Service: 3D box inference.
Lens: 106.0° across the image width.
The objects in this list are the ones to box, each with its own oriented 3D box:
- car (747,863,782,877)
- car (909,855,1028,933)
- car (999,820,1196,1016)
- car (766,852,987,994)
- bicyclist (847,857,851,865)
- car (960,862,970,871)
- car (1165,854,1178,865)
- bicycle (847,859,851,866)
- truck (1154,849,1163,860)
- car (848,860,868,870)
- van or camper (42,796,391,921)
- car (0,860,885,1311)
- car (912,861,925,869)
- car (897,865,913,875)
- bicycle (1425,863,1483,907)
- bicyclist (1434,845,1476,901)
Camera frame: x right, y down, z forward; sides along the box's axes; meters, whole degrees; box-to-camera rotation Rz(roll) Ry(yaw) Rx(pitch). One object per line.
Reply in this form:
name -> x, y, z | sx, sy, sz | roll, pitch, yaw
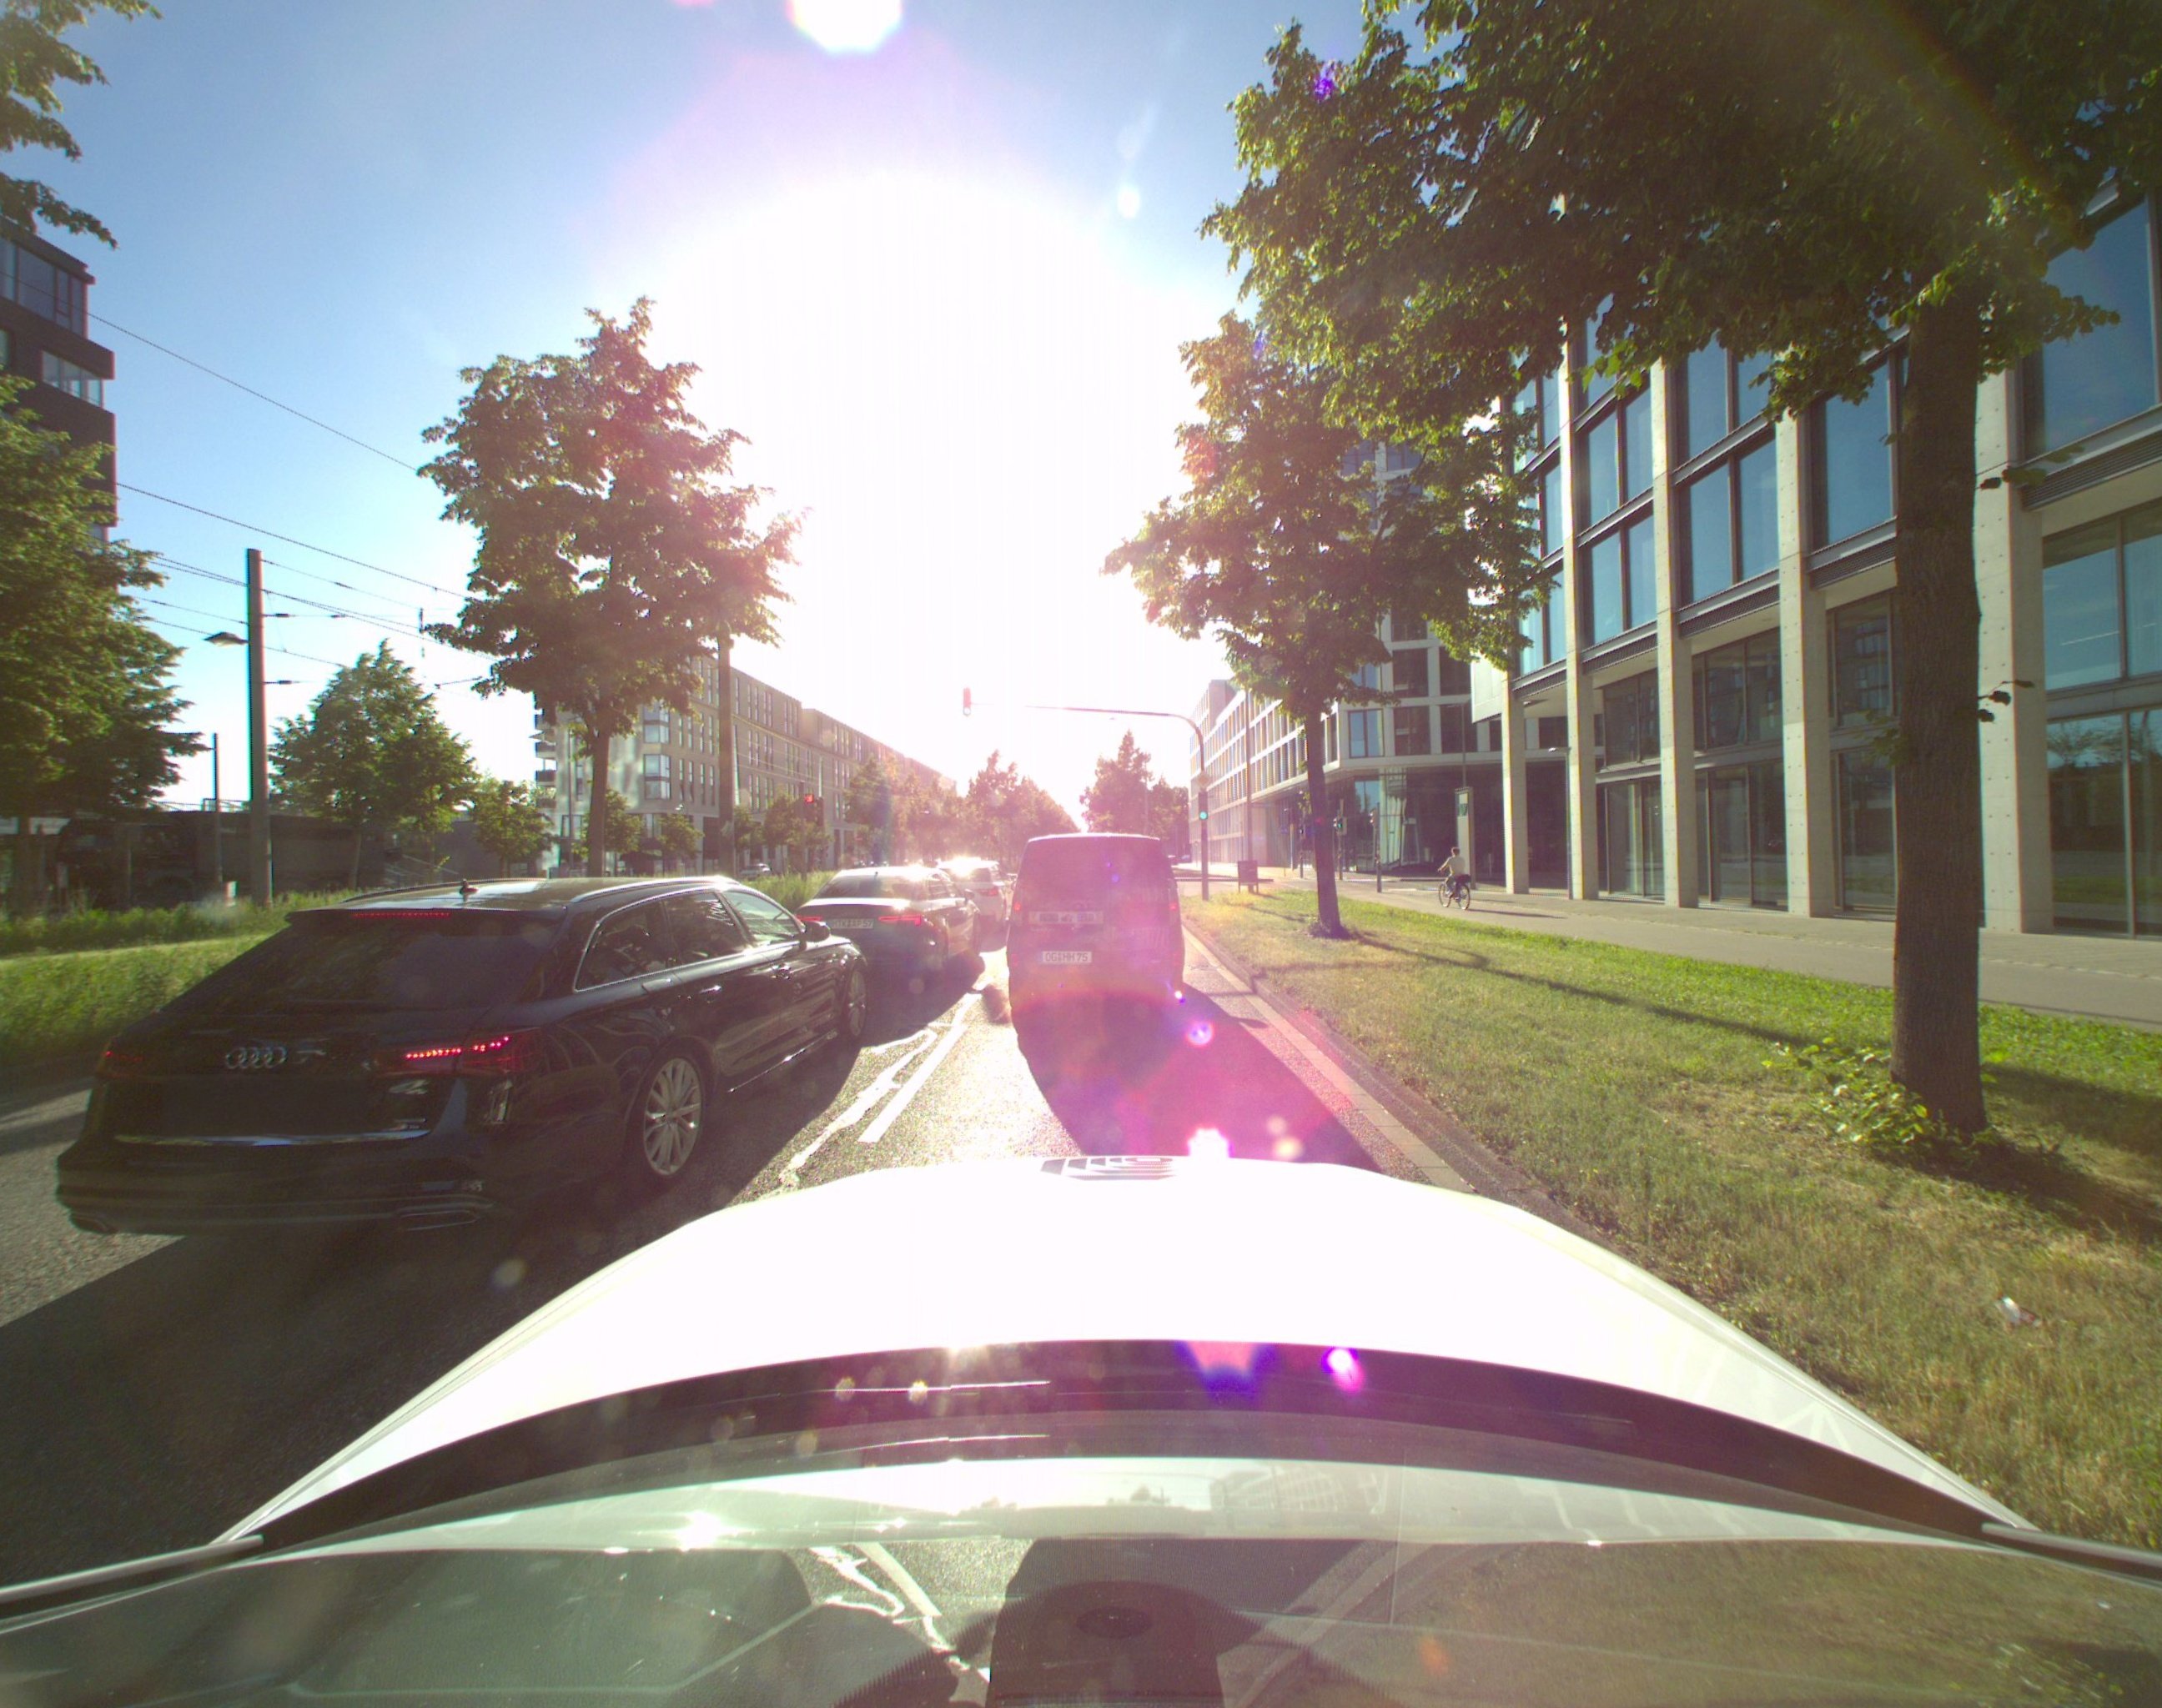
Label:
car -> -30.886, 1.542, 79.570 | 1.574, 1.342, 4.473 | -1, 0, 1
car -> -2.301, 0.774, 17.674 | 1.801, 1.434, 4.115 | -1, 0, 2
car -> 0.245, 0.599, 9.667 | 1.801, 1.794, 4.115 | -1, 0, 2
car -> -2.483, 0.757, 11.001 | 1.801, 1.527, 4.114 | -1, 0, 2
bicyclist -> -35.815, 1.049, 125.764 | 0.579, 1.293, 0.701 | 0, -1, -15
car -> -28.487, 3.015, 199.871 | 1.723, 2.013, 3.999 | -1, 0, -1
car -> 14.228, 0.814, 127.694 | 1.750, 1.611, 3.906 | -1, 0, 3
bicycle -> -35.812, 1.284, 125.760 | 0.529, 1.111, 1.630 | 0, -1, -14
truck -> 18.885, 0.178, 198.697 | 1.825, 2.501, 5.934 | -1, -1, 1
car -> -30.562, 1.499, 111.549 | 1.574, 1.342, 3.713 | -1, 0, 1
van or camper -> -33.503, 0.169, 32.580 | 2.743, 4.192, 10.234 | -1, 0, 2
car -> -2.723, 0.799, 5.005 | 1.801, 1.457, 4.509 | -1, 0, 2
car -> -29.878, 2.032, 150.141 | 1.574, 1.342, 3.713 | -1, 0, 1
car -> -29.731, 2.683, 137.464 | 1.769, 1.528, 3.807 | -1, 0, 1
bicycle -> 10.541, 0.861, 23.079 | 0.739, 1.174, 1.962 | -3, -1, 2
bicyclist -> 10.530, 0.524, 22.944 | 0.768, 1.531, 0.850 | -2, 0, 1
